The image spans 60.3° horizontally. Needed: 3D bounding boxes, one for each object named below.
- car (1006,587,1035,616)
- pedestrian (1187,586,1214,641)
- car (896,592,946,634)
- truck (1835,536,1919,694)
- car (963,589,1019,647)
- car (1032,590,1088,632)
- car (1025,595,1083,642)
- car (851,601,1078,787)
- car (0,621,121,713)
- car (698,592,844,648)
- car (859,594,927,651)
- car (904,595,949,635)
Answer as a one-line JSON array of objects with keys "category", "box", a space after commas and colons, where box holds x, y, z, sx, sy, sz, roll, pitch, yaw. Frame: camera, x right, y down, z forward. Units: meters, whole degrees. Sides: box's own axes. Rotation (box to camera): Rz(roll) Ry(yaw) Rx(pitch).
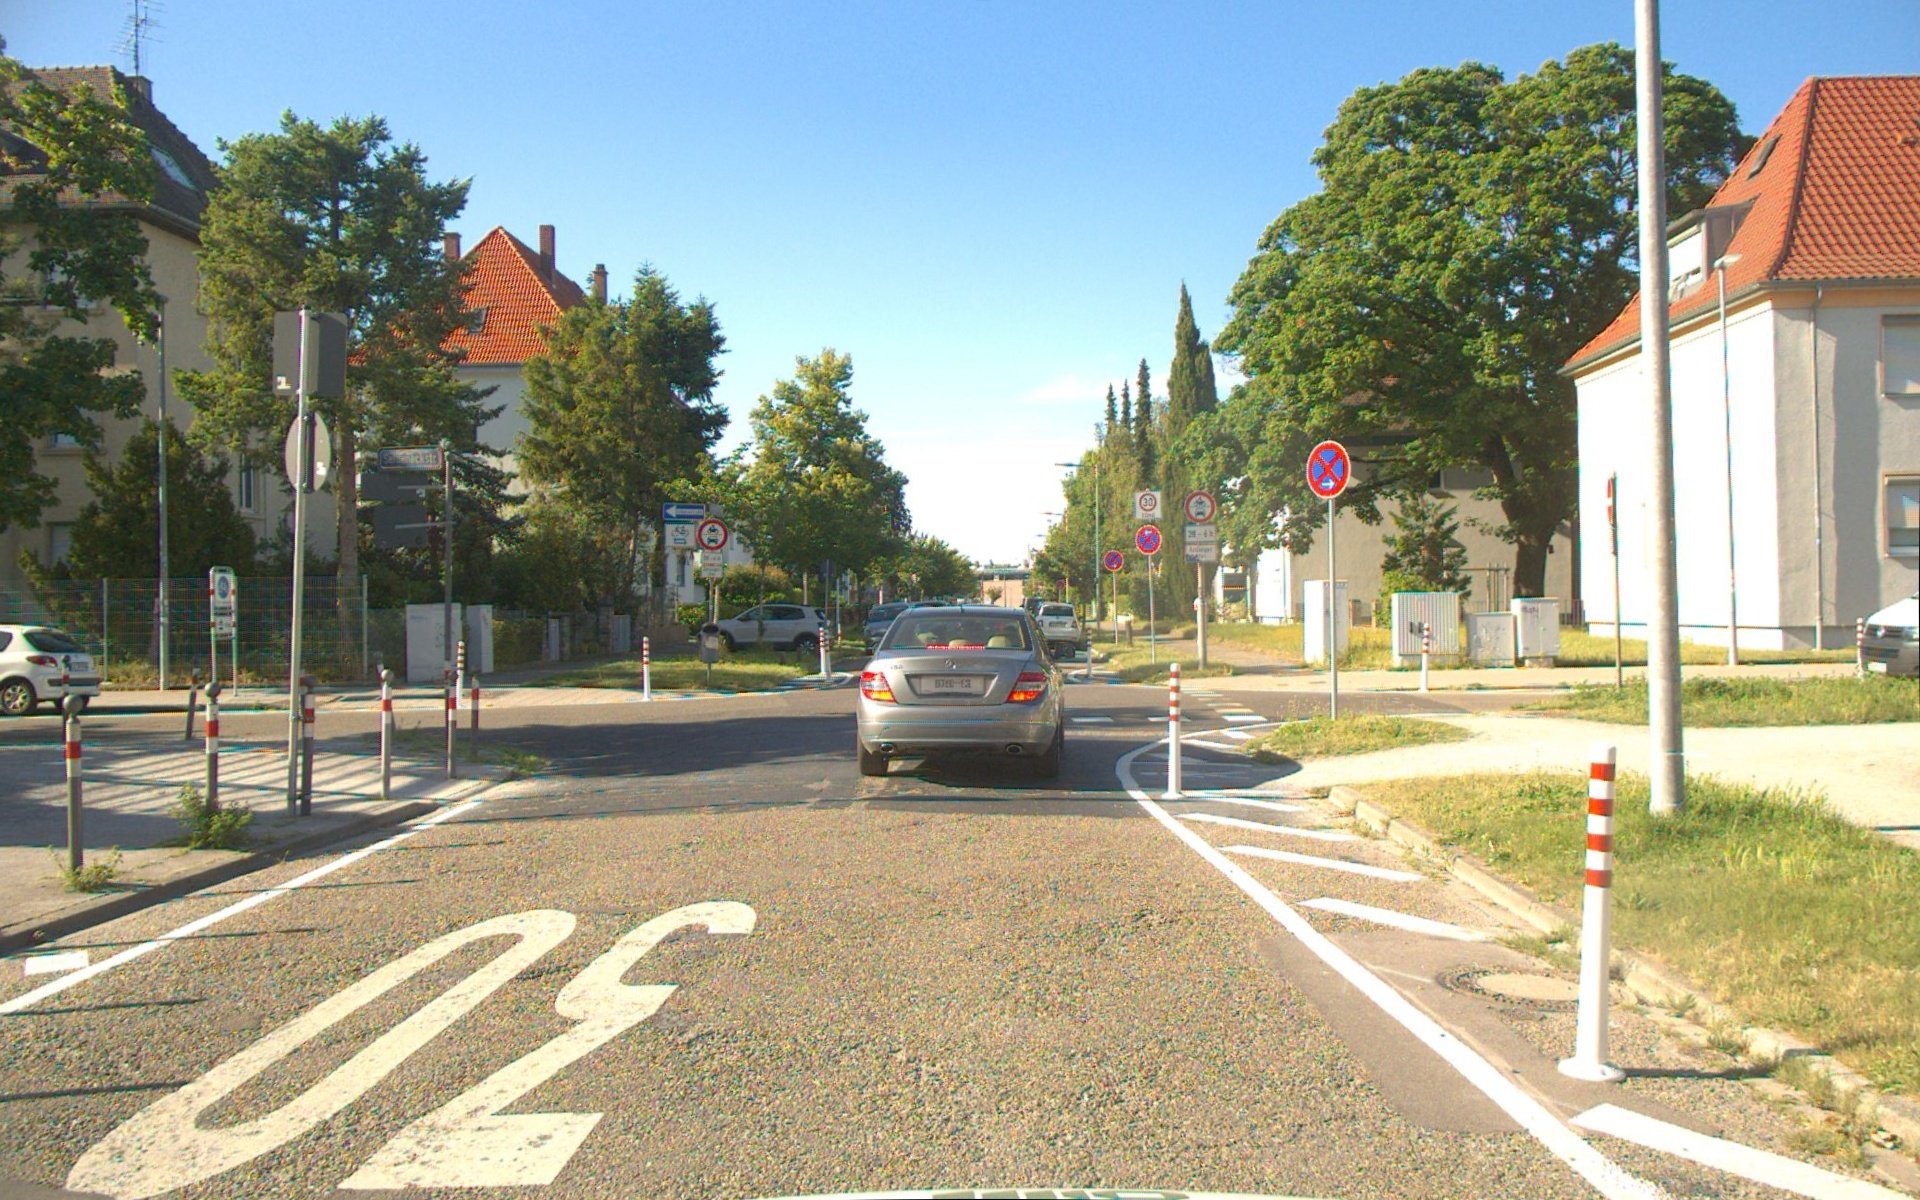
[{"category": "car", "box": [4.068, 0.094, 111.989, 1.816, 1.873, 4.001, -1, 0, 1]}, {"category": "pedestrian", "box": [7.409, 0.414, 50.935, 0.750, 1.639, 0.835, -1, 0, 6]}, {"category": "car", "box": [-1.662, 0.550, 71.765, 1.953, 1.637, 4.000, -5, 0, 0]}, {"category": "truck", "box": [14.946, 0.130, 22.722, 4.757, 2.071, 2.000, -1, 0, 1]}, {"category": "car", "box": [0.893, 0.502, 49.491, 1.564, 1.638, 3.643, -1, 0, 0]}, {"category": "car", "box": [4.010, 0.424, 66.950, 1.953, 1.638, 4.000, -1, 0, 0]}, {"category": "car", "box": [3.149, 0.607, 56.148, 1.698, 1.505, 3.725, -1, 0, 0]}, {"category": "car", "box": [0.127, 0.751, 15.164, 1.798, 1.466, 4.001, 0, 0, 3]}, {"category": "car", "box": [-15.882, 1.092, 26.790, 3.686, 1.423, 1.707, -1, -1, 1]}, {"category": "car", "box": [-5.551, 0.578, 48.895, 4.107, 1.591, 1.841, 0, 0, -2]}, {"category": "car", "box": [-2.135, 0.707, 53.958, 1.953, 1.637, 4.000, -5, 0, 0]}, {"category": "car", "box": [-1.547, 0.675, 77.559, 1.953, 1.637, 4.000, -5, 0, 0]}]
